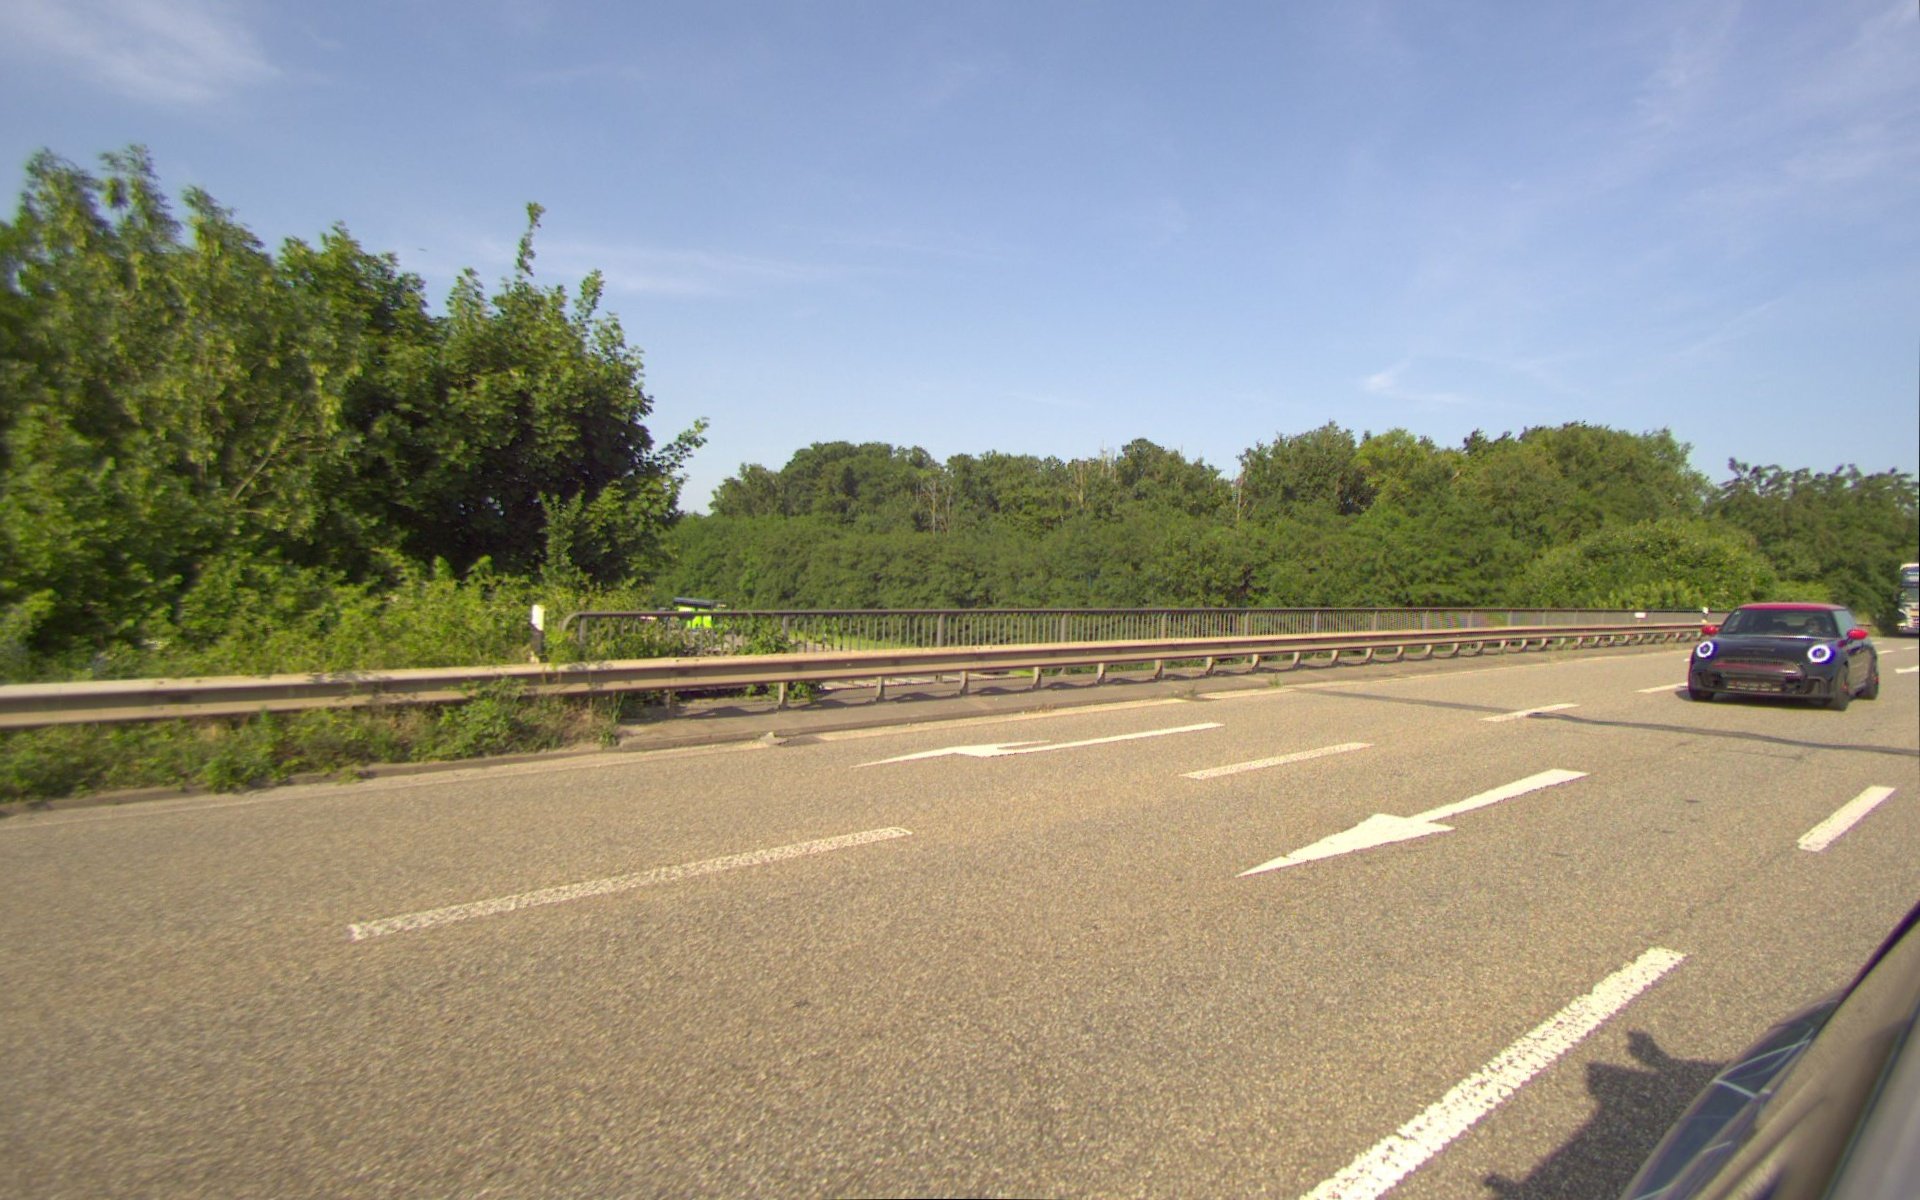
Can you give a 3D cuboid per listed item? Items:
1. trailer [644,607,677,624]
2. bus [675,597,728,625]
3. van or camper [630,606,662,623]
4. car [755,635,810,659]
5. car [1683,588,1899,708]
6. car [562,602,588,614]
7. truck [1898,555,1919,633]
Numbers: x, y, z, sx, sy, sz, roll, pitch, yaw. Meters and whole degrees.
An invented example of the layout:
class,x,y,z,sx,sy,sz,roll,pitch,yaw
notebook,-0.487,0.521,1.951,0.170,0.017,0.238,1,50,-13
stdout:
class,x,y,z,sx,sy,sz,roll,pitch,yaw
trailer,-37.184,1.868,125.678,2.348,1.984,4.968,-1,1,-37
bus,-31.951,1.282,124.767,2.679,3.291,9.764,-1,1,-37
van or camper,-40.302,1.832,129.758,2.348,1.984,5.131,-1,1,-37
car,-16.274,4.251,92.394,2.652,1.763,5.682,-1,1,-37
car,12.222,0.588,14.815,3.805,1.486,1.823,-1,1,-41
car,-59.267,1.228,155.838,2.417,1.763,5.172,-1,1,-37
truck,55.852,-0.411,56.738,14.310,4.069,3.194,-1,1,-41
